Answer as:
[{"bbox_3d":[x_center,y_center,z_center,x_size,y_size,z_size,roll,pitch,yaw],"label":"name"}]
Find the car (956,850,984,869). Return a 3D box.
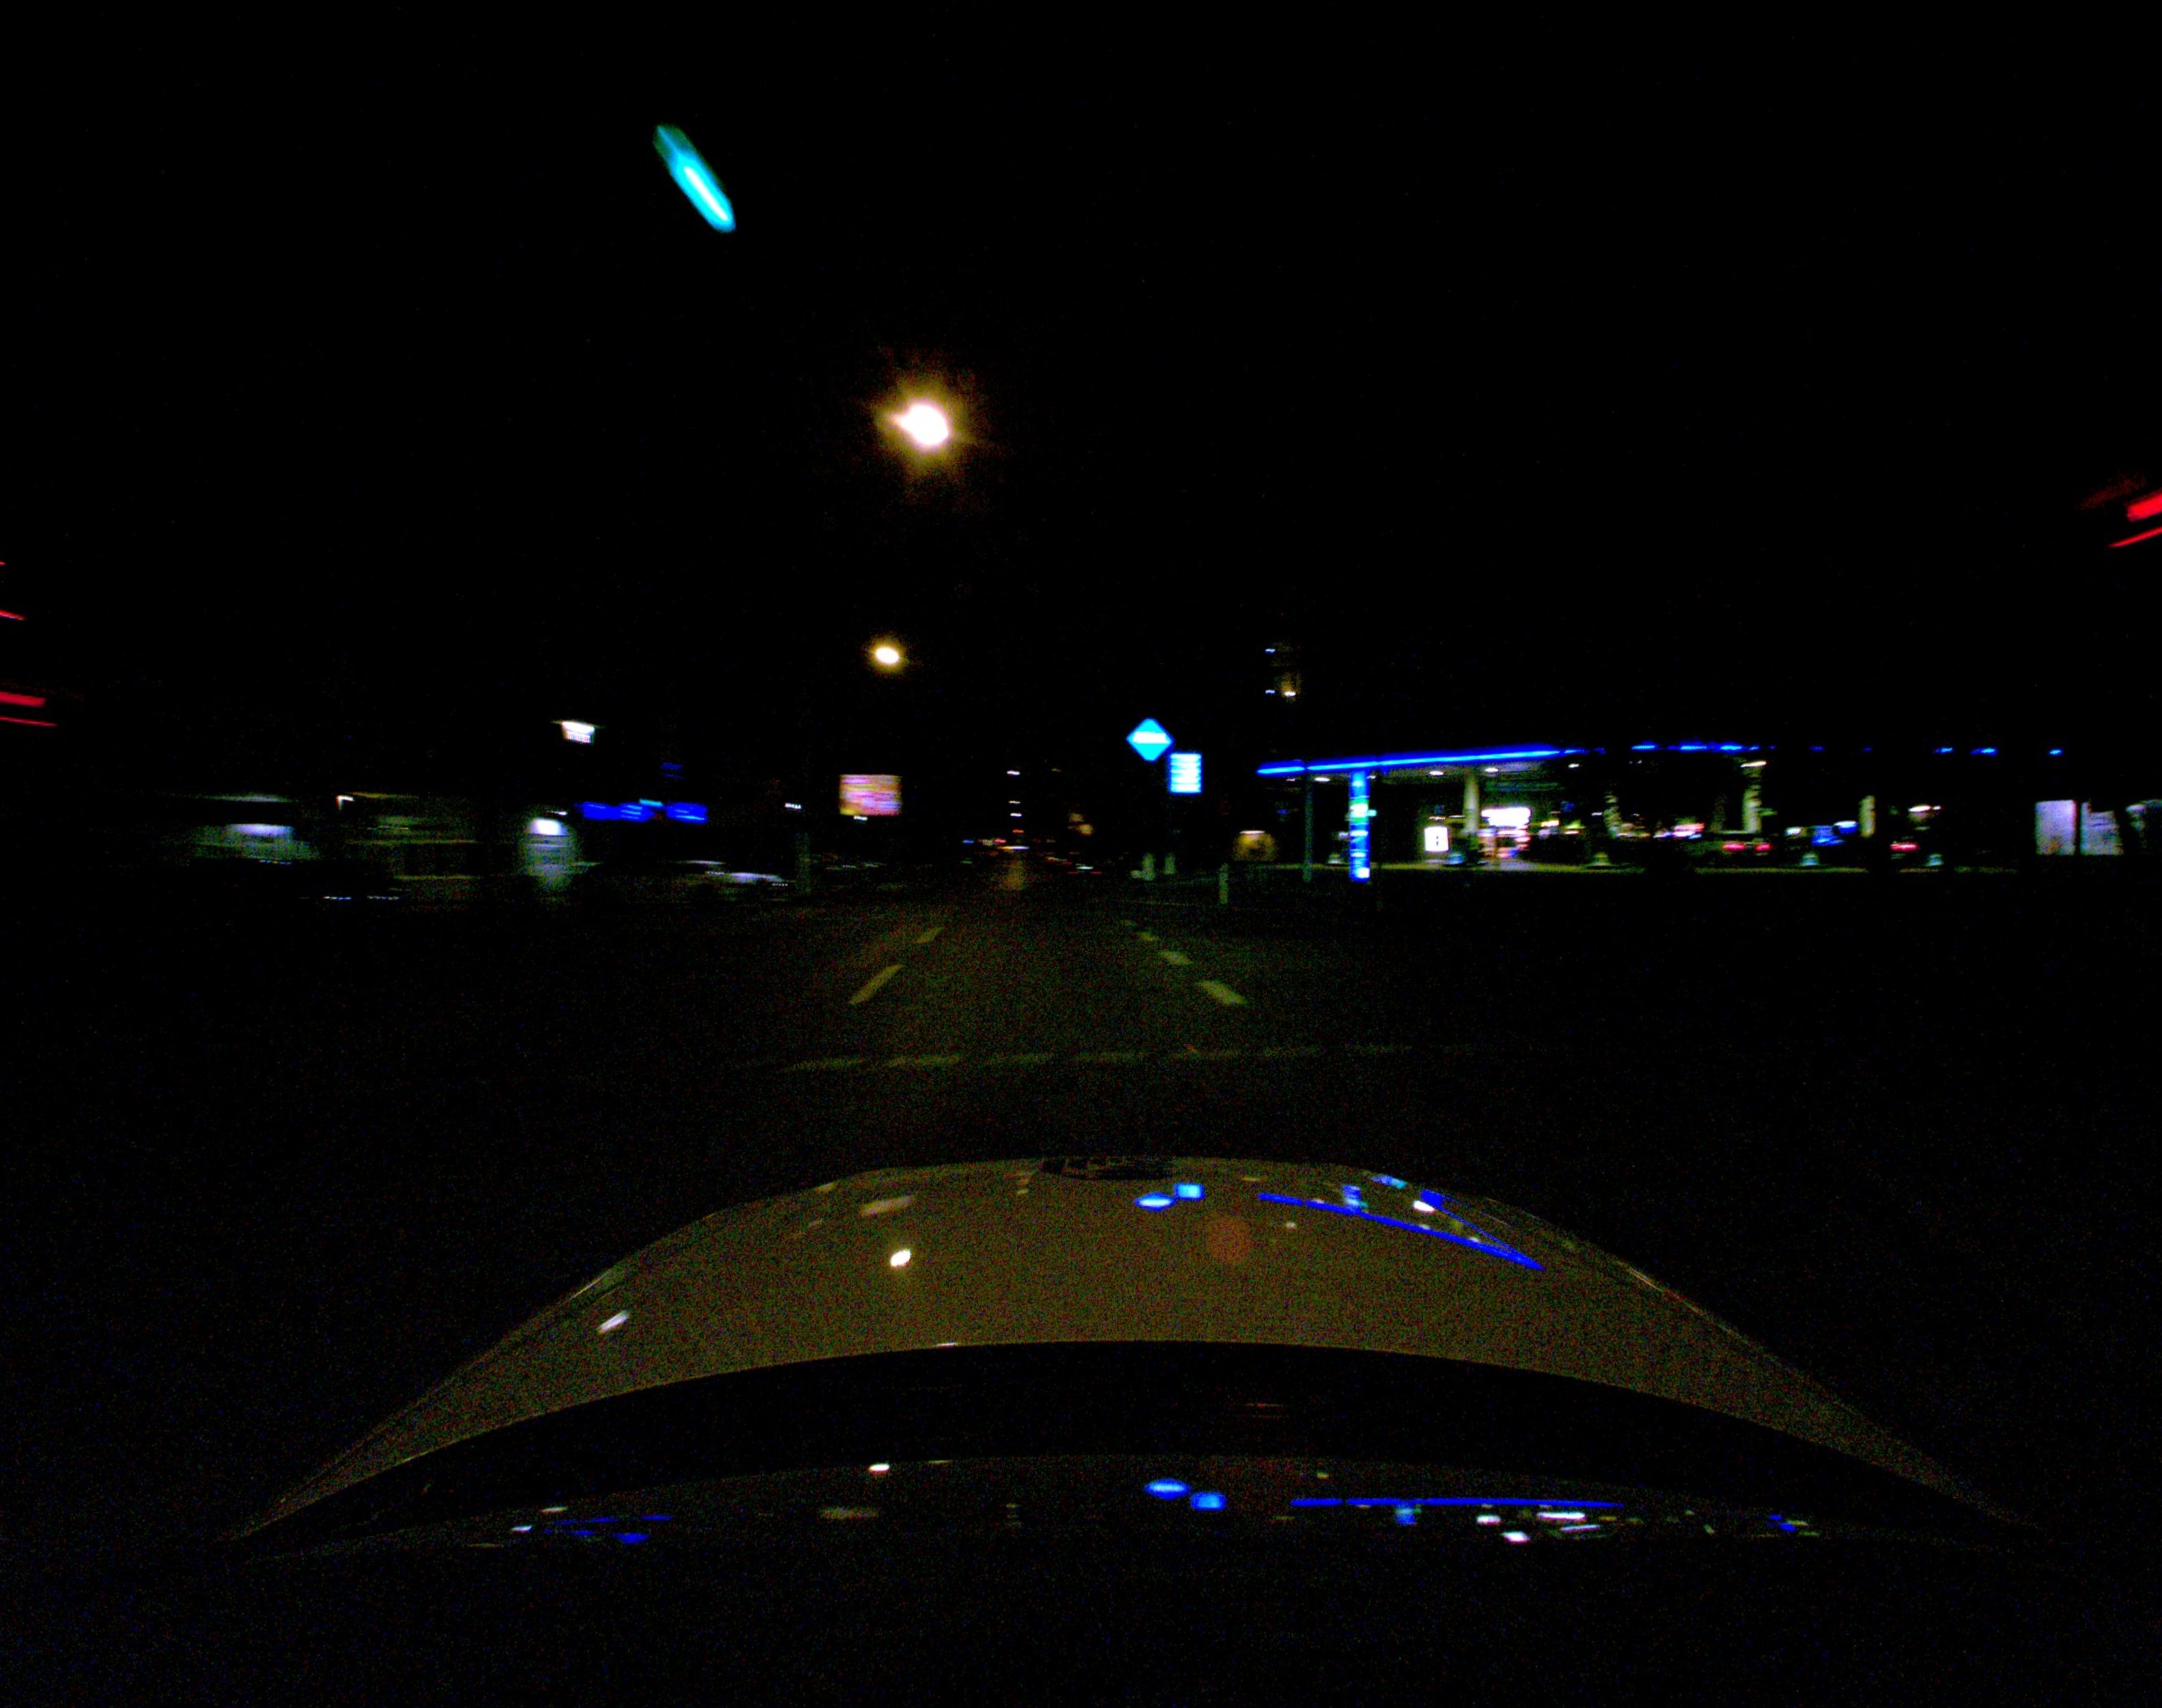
[{"bbox_3d":[-9.032,0.425,66.298,1.990,1.502,3.994,0,-1,-4],"label":"car"}]

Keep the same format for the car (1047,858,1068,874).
[{"bbox_3d":[-2.265,1.123,79.078,1.989,1.520,3.996,0,-1,-3],"label":"car"}]

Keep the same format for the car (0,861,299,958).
[{"bbox_3d":[-18.208,0.979,16.098,1.993,1.622,3.988,0,0,-8],"label":"car"}]

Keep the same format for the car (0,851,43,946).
[{"bbox_3d":[-22.786,0.900,15.180,1.993,1.945,3.988,0,0,-8],"label":"car"}]

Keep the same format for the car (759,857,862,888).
[{"bbox_3d":[-13.156,0.877,39.842,4.431,1.450,1.997,0,-1,-5],"label":"car"}]

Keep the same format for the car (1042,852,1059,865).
[{"bbox_3d":[-3.668,0.557,97.276,1.989,1.520,3.996,0,-1,-3],"label":"car"}]

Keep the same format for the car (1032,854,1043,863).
[{"bbox_3d":[-7.663,0.840,144.142,1.989,1.520,3.996,0,-1,-3],"label":"car"}]

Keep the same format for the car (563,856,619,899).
[{"bbox_3d":[-21.904,1.028,36.357,2.008,1.775,3.958,0,-1,-33],"label":"car"}]

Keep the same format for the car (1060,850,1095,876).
[{"bbox_3d":[-0.278,0.575,53.968,1.990,1.596,3.993,0,0,-5],"label":"car"}]

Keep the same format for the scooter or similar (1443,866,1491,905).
[{"bbox_3d":[11.861,0.940,25.006,1.690,1.092,0.708,-2,1,-42],"label":"scooter or similar"}]

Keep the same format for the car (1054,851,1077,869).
[{"bbox_3d":[-1.401,0.568,72.080,1.989,1.520,3.996,0,-1,-3],"label":"car"}]

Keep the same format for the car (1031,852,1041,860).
[{"bbox_3d":[-9.241,0.383,167.163,1.989,1.520,3.996,0,-1,-3],"label":"car"}]

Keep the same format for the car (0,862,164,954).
[{"bbox_3d":[-20.571,0.982,15.497,1.993,1.622,3.988,0,0,-8],"label":"car"}]

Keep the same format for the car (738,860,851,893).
[{"bbox_3d":[-12.975,0.994,37.109,4.431,1.450,1.997,0,-1,-5],"label":"car"}]

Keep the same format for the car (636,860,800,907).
[{"bbox_3d":[-11.725,0.922,26.593,4.433,1.450,1.996,0,-1,-6],"label":"car"}]

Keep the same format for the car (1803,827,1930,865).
[{"bbox_3d":[37.169,-0.409,38.678,1.991,1.663,3.992,0,2,-6],"label":"car"}]

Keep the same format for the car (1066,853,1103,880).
[{"bbox_3d":[0.151,0.714,48.458,1.989,1.516,3.996,0,0,-3],"label":"car"}]

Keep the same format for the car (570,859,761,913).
[{"bbox_3d":[-11.852,0.883,23.491,4.431,1.450,1.997,0,-1,-5],"label":"car"}]

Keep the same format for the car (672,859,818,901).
[{"bbox_3d":[-11.983,0.918,29.300,4.431,1.450,1.997,0,-1,-5],"label":"car"}]

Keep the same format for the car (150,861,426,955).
[{"bbox_3d":[-15.660,0.972,16.459,1.993,1.622,3.988,0,0,-8],"label":"car"}]

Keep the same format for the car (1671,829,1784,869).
[{"bbox_3d":[30.766,-0.291,38.936,1.988,1.768,4.250,0,3,-1],"label":"car"}]
